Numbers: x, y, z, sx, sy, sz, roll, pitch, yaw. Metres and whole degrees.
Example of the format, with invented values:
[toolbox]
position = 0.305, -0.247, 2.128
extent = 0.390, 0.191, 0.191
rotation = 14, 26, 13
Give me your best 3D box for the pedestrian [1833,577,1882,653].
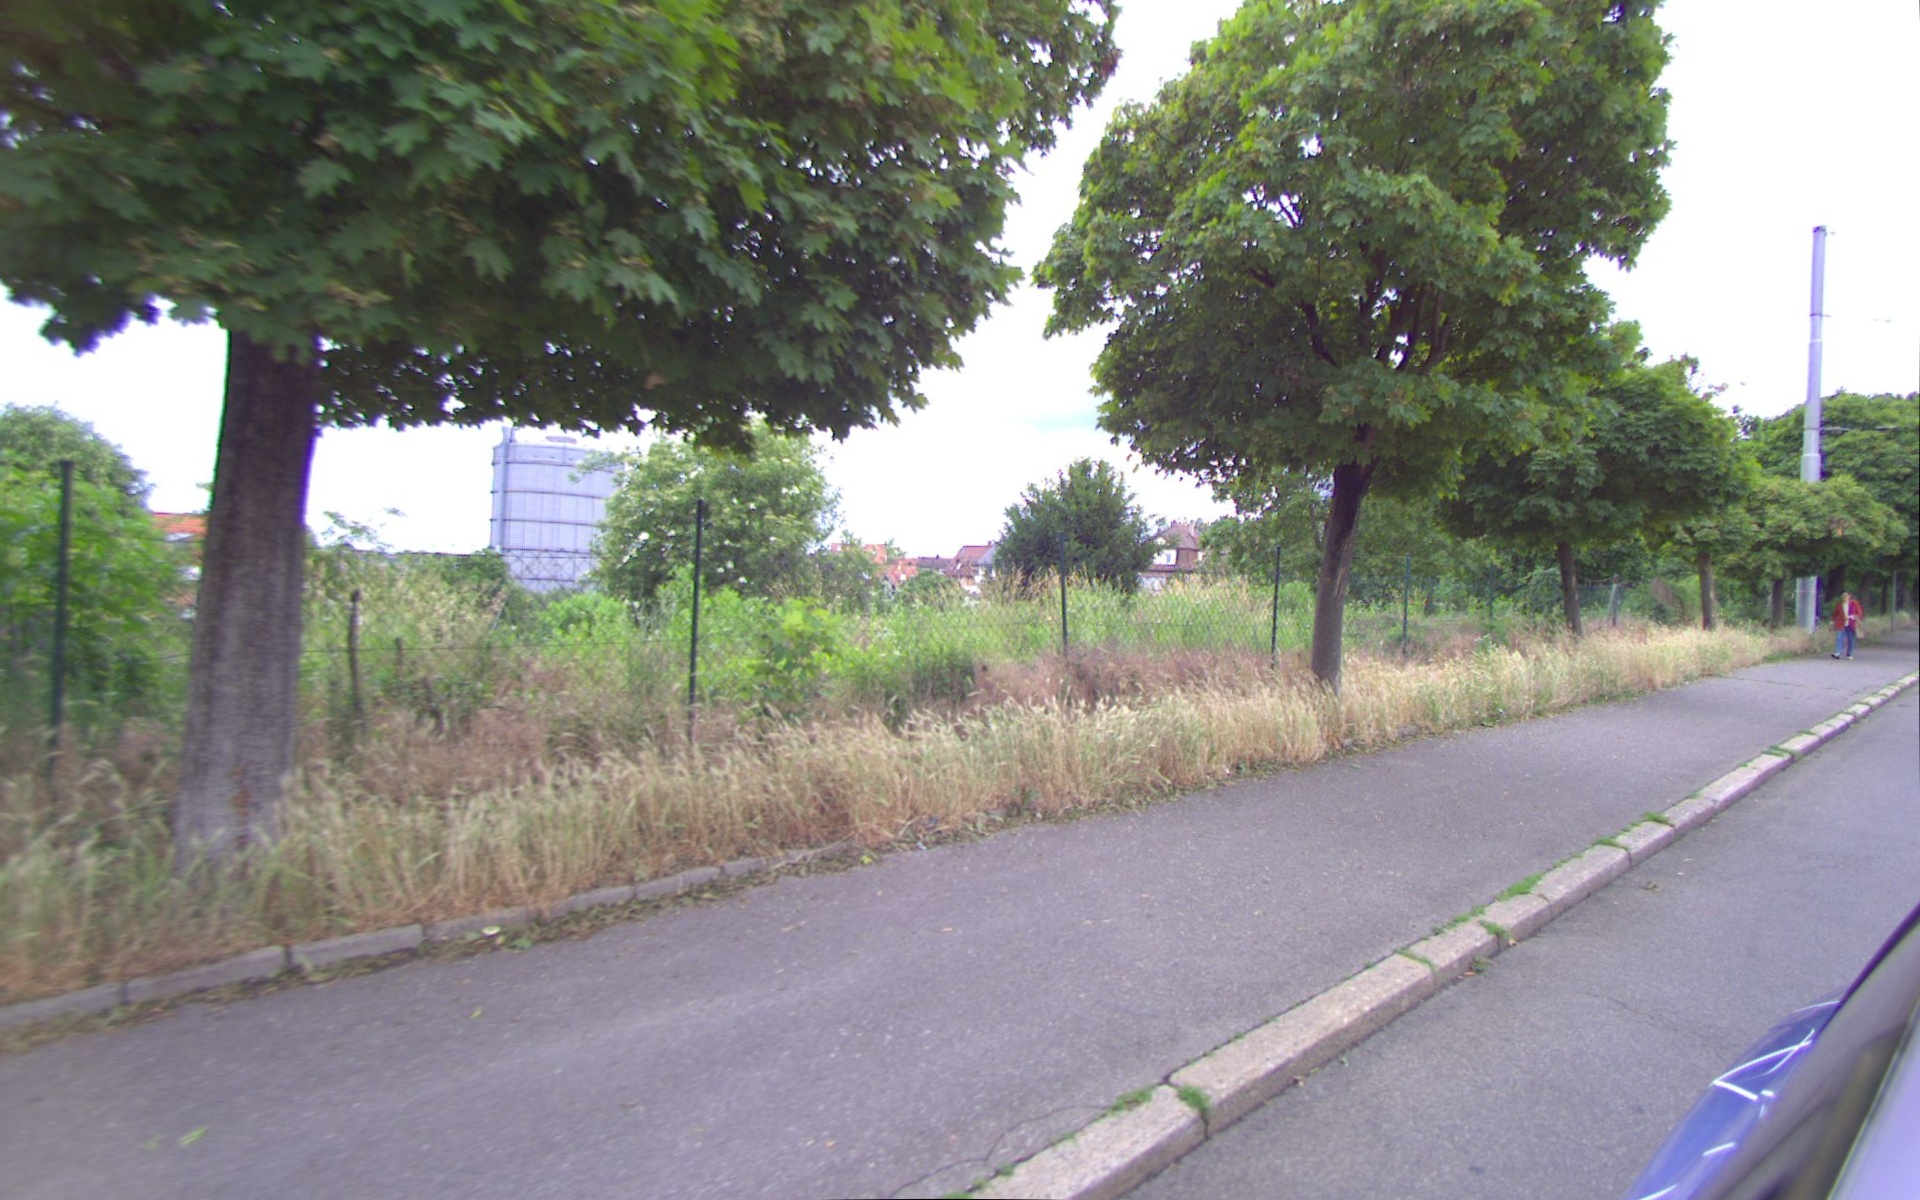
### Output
[pedestrian]
position = 20.040, 0.313, 22.591
extent = 0.706, 1.640, 0.716
rotation = -1, 2, -42
